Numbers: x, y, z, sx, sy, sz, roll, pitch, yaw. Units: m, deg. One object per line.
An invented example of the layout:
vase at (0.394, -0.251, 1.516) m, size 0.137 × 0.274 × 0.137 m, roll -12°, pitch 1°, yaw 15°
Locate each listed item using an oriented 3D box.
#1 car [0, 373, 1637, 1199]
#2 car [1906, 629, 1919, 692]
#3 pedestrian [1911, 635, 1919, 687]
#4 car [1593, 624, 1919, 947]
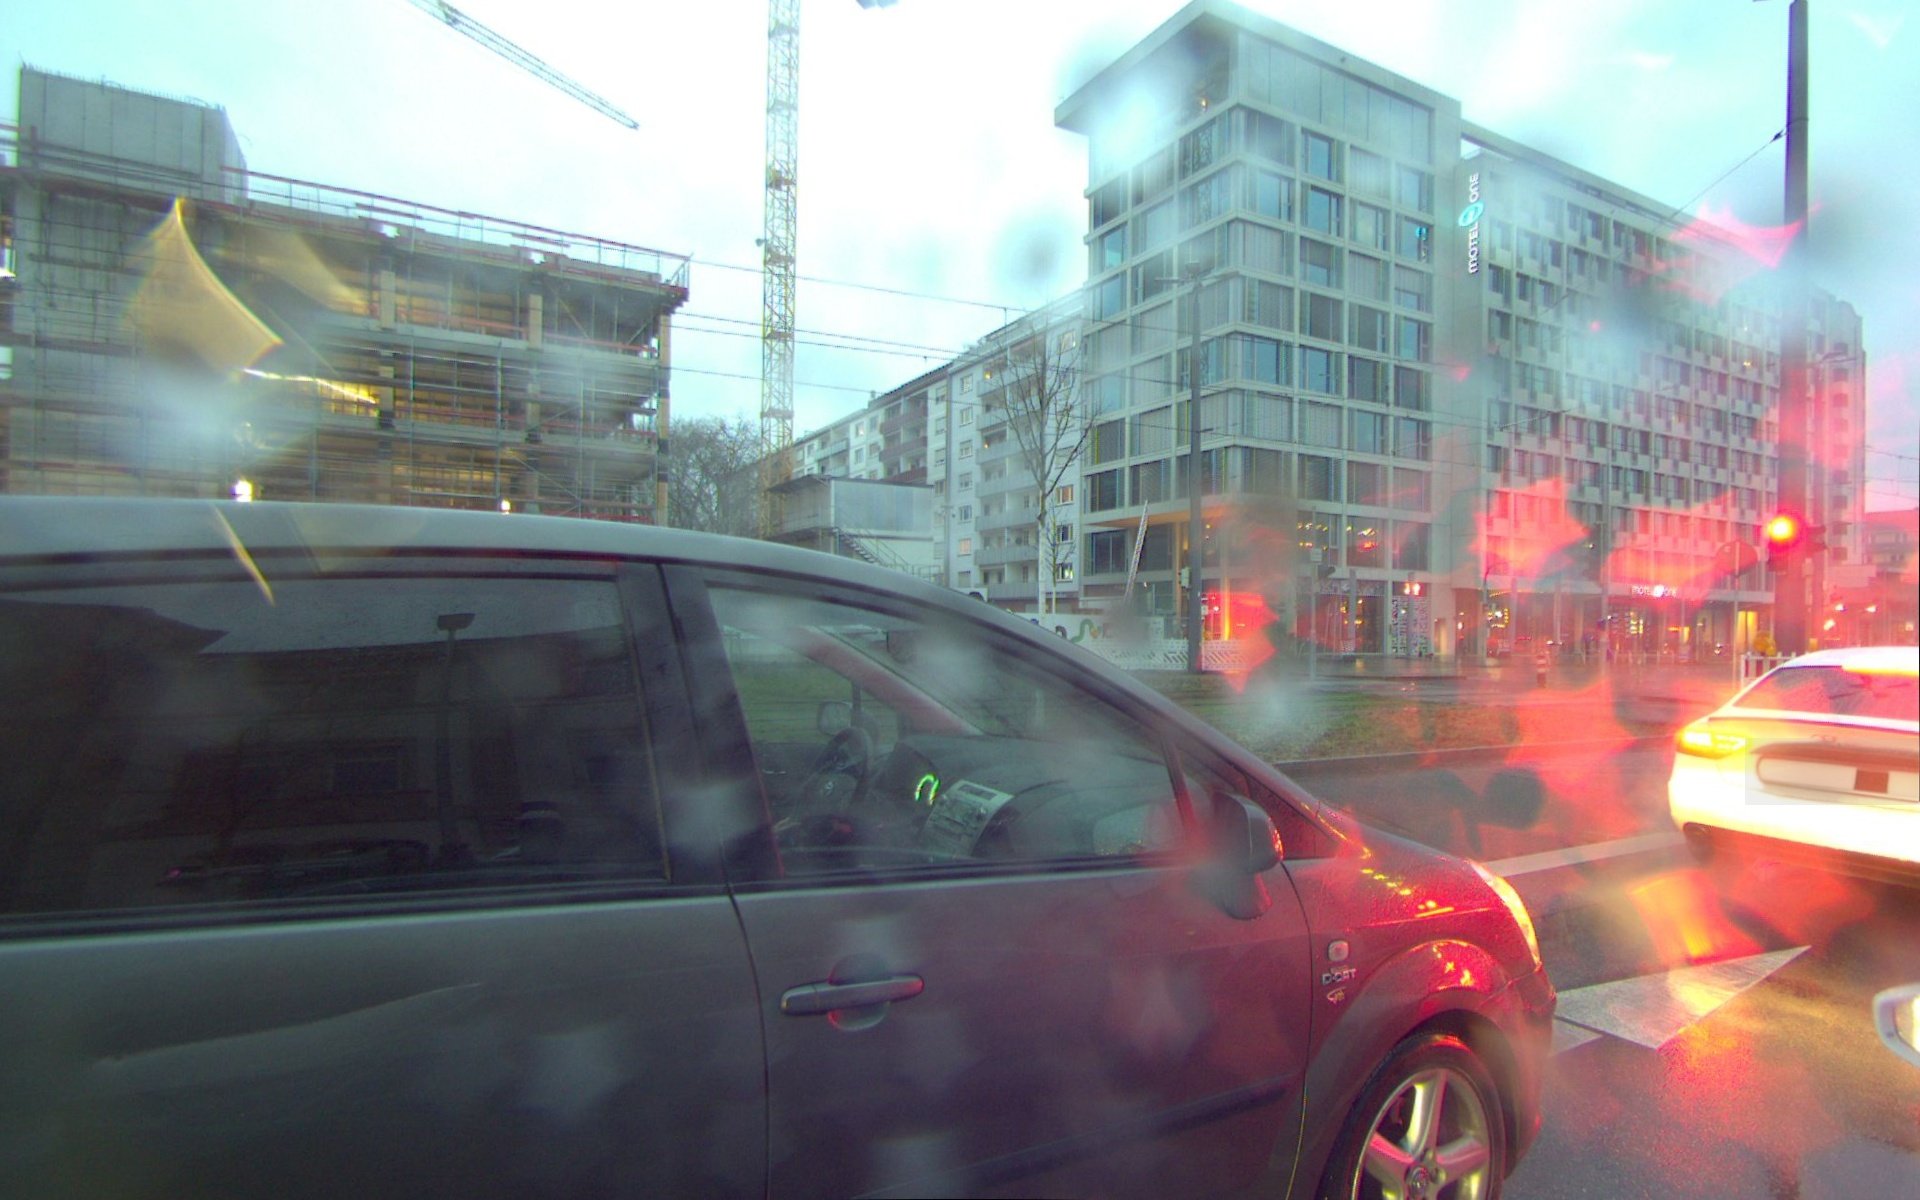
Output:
car at (-0.536, 0.652, 2.151) m, size 4.089 × 1.668 × 1.801 m, roll 1°, pitch 0°, yaw -32°
car at (24.418, 1.520, 23.003) m, size 1.608 × 1.497 × 3.674 m, roll 2°, pitch 0°, yaw -27°
pedestrian at (32.827, 2.093, 34.064) m, size 0.808 × 1.734 × 0.782 m, roll 2°, pitch 0°, yaw -45°
car at (6.090, 0.928, 6.245) m, size 4.320 × 1.475 × 1.983 m, roll 1°, pitch 0°, yaw -32°
